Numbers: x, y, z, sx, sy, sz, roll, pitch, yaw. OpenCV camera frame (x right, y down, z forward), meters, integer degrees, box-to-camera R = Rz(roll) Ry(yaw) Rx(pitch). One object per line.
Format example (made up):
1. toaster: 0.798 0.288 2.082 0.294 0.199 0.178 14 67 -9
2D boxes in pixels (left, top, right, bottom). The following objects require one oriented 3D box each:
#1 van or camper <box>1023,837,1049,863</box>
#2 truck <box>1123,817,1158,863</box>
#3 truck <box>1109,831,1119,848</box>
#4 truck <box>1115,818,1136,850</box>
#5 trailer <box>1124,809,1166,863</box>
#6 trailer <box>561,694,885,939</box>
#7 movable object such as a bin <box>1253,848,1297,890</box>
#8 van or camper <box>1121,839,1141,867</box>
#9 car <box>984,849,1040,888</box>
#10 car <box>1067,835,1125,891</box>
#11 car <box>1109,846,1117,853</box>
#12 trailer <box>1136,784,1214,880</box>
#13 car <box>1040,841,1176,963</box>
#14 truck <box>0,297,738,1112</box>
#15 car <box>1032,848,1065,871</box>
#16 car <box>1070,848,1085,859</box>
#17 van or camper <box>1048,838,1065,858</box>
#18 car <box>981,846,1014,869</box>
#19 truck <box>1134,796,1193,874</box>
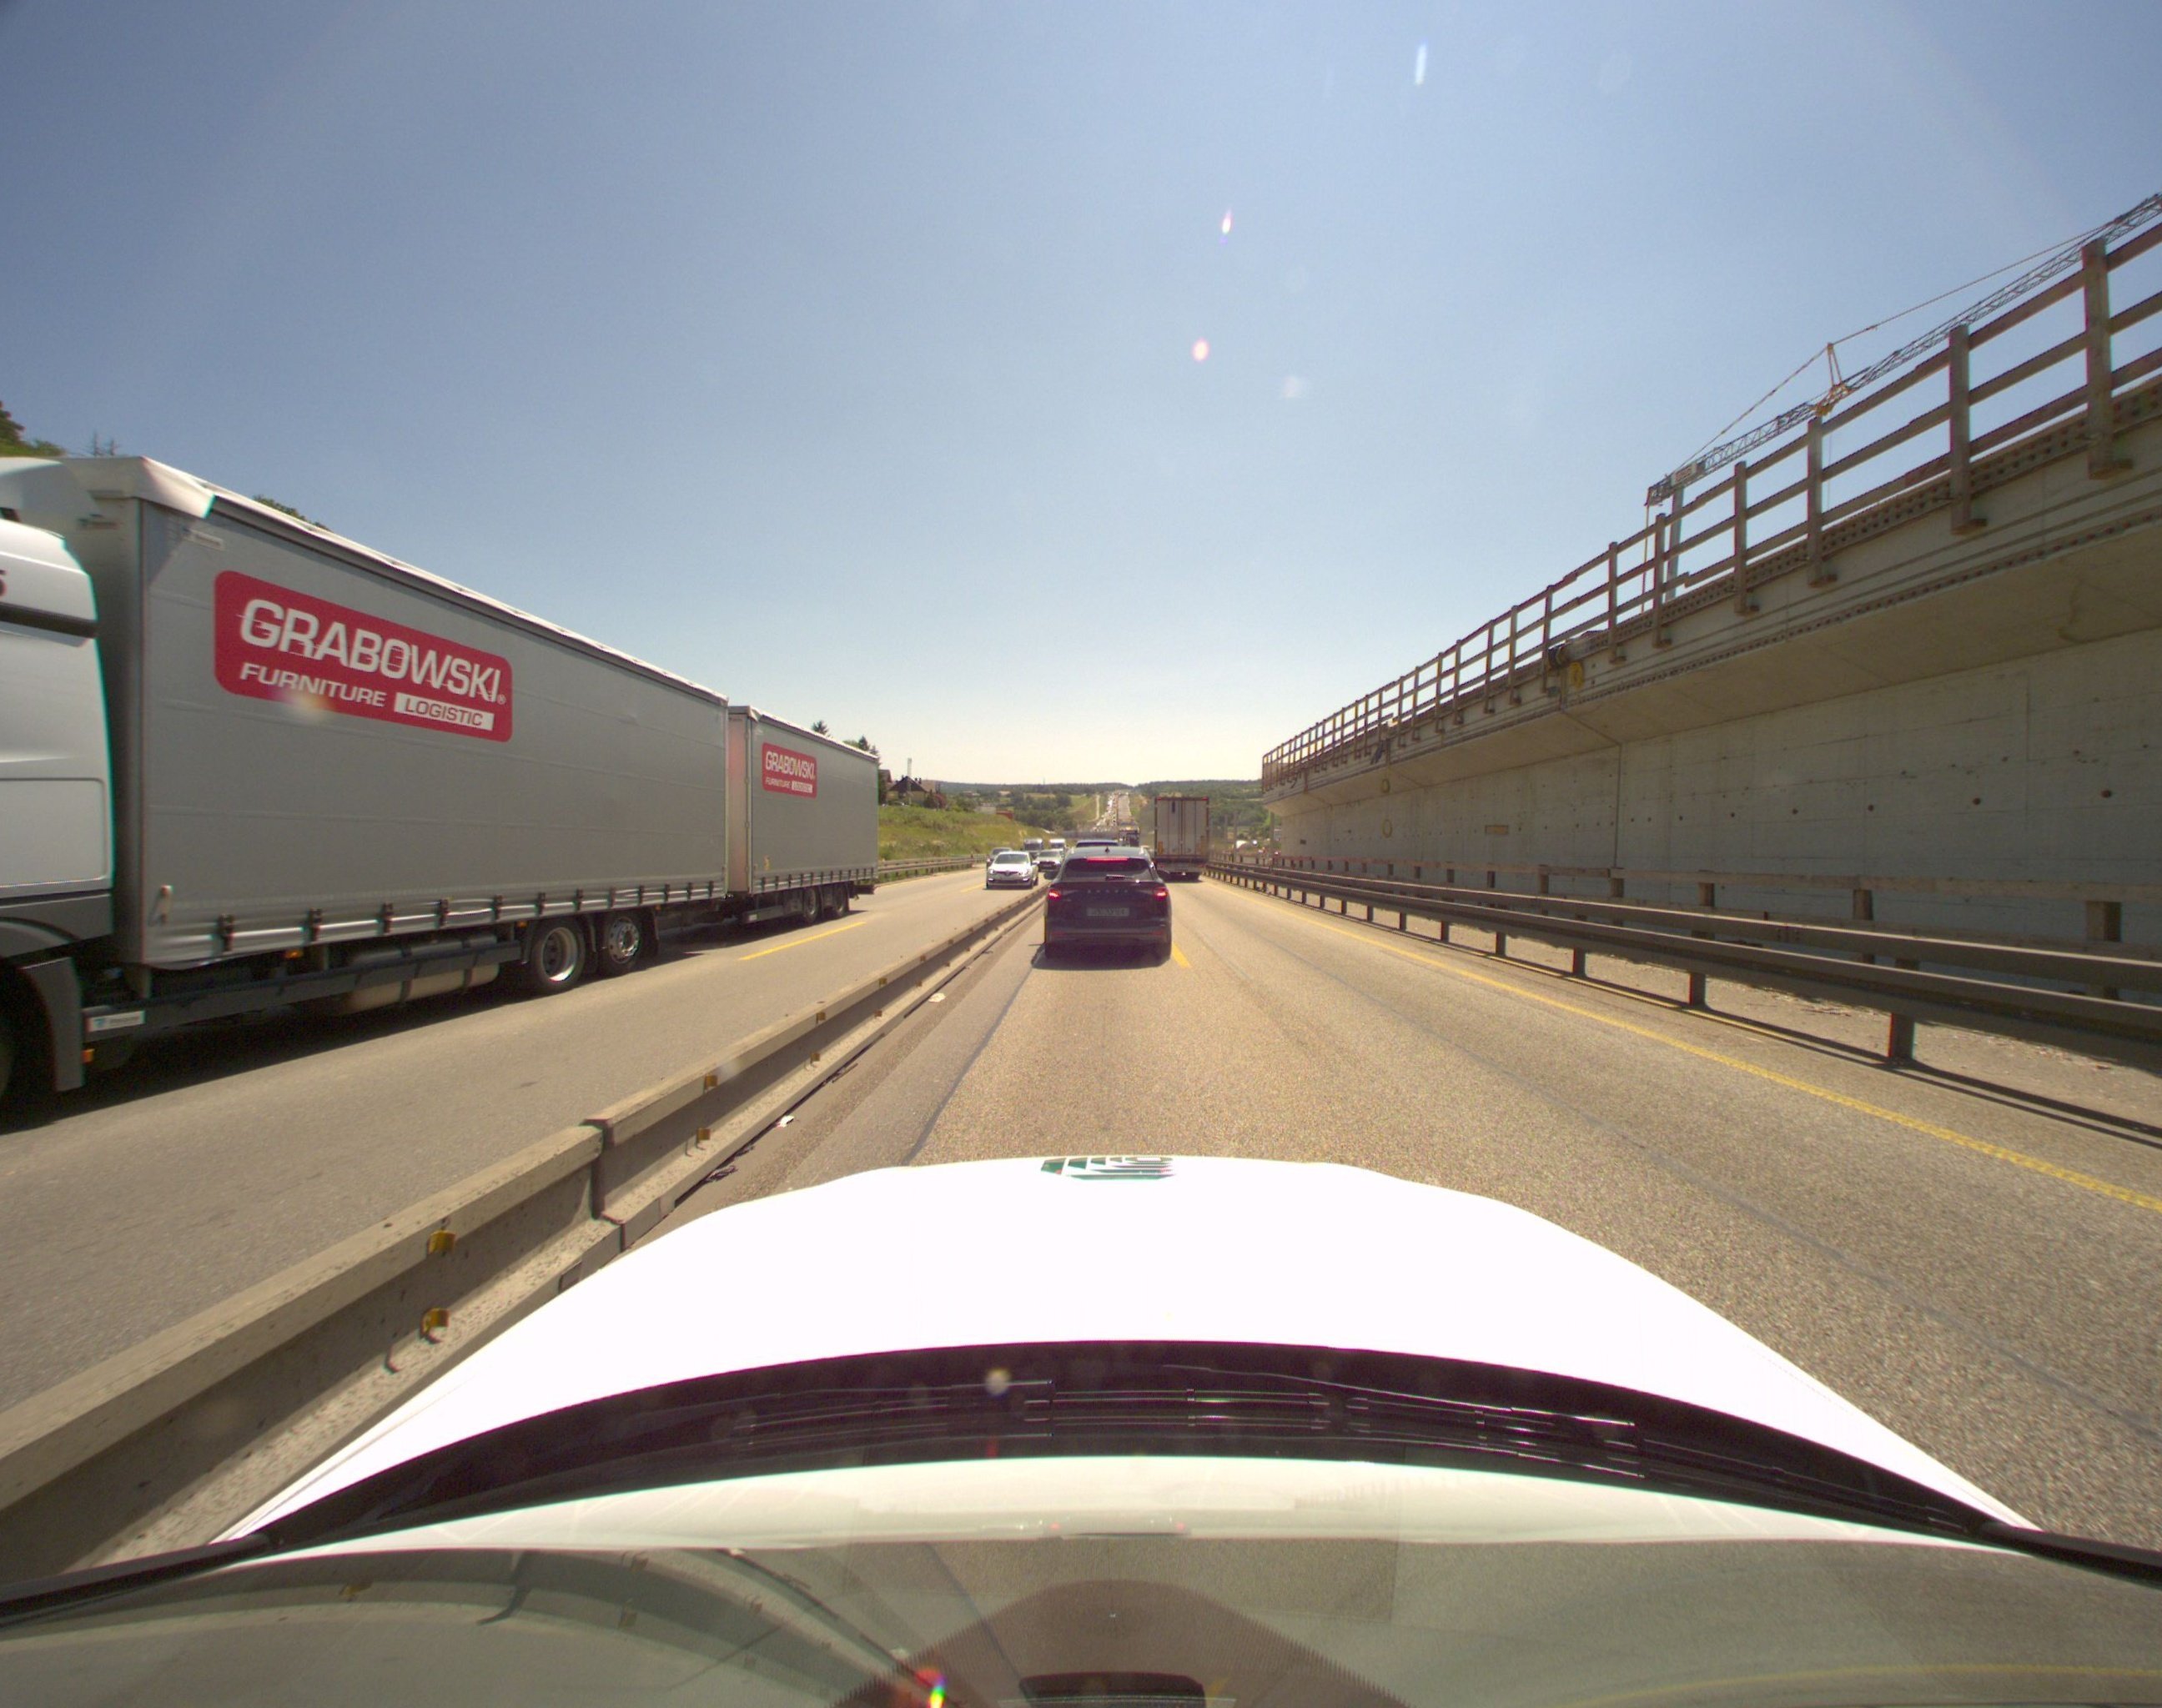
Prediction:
1. van or camper: -4.559 -0.456 84.094 2.132 2.573 6.567 0 0 2
2. truck: 5.928 -1.301 82.329 3.168 4.513 8.168 0 -1 2
3. truck: 8.846 -3.850 218.126 2.630 4.194 9.287 0 -1 2
4. truck: 6.724 -3.020 124.852 2.842 4.465 11.919 0 -1 1
5. trailer: 5.720 -1.419 75.238 3.168 4.513 14.971 0 -1 2
6. trailer: -6.862 -0.608 17.574 2.918 3.988 8.709 0 0 1
7. movable object such as a bin: 23.029 1.791 97.399 3.215 4.743 9.658 0 -1 1
8. van or camper: 6.077 -0.109 98.459 2.378 3.280 6.475 0 -1 4
9. car: -2.720 0.538 32.781 1.795 1.464 4.001 0 0 1
10. car: 0.570 0.337 30.149 1.986 1.926 4.509 0 -1 1
11. car: 7.481 -0.939 189.357 1.806 1.601 4.576 0 0 2
12. trailer: 4.863 -1.120 44.895 3.168 4.512 13.114 0 1 2
13. car: 0.439 0.632 12.736 1.795 1.607 4.002 0 0 2
14. truck: -7.016 -0.804 7.986 2.611 4.396 10.389 0 0 2
15. car: -2.066 0.337 53.414 1.822 1.433 4.631 -1 0 2
16. car: -0.435 -0.085 106.181 1.836 1.475 4.836 0 0 2
17. van or camper: -3.762 -0.949 126.929 2.282 3.066 6.927 0 0 2
18. car: -5.882 0.240 57.664 1.766 1.582 4.287 1 0 2
19. truck: 5.041 -1.178 51.398 3.168 4.512 8.169 0 1 2
